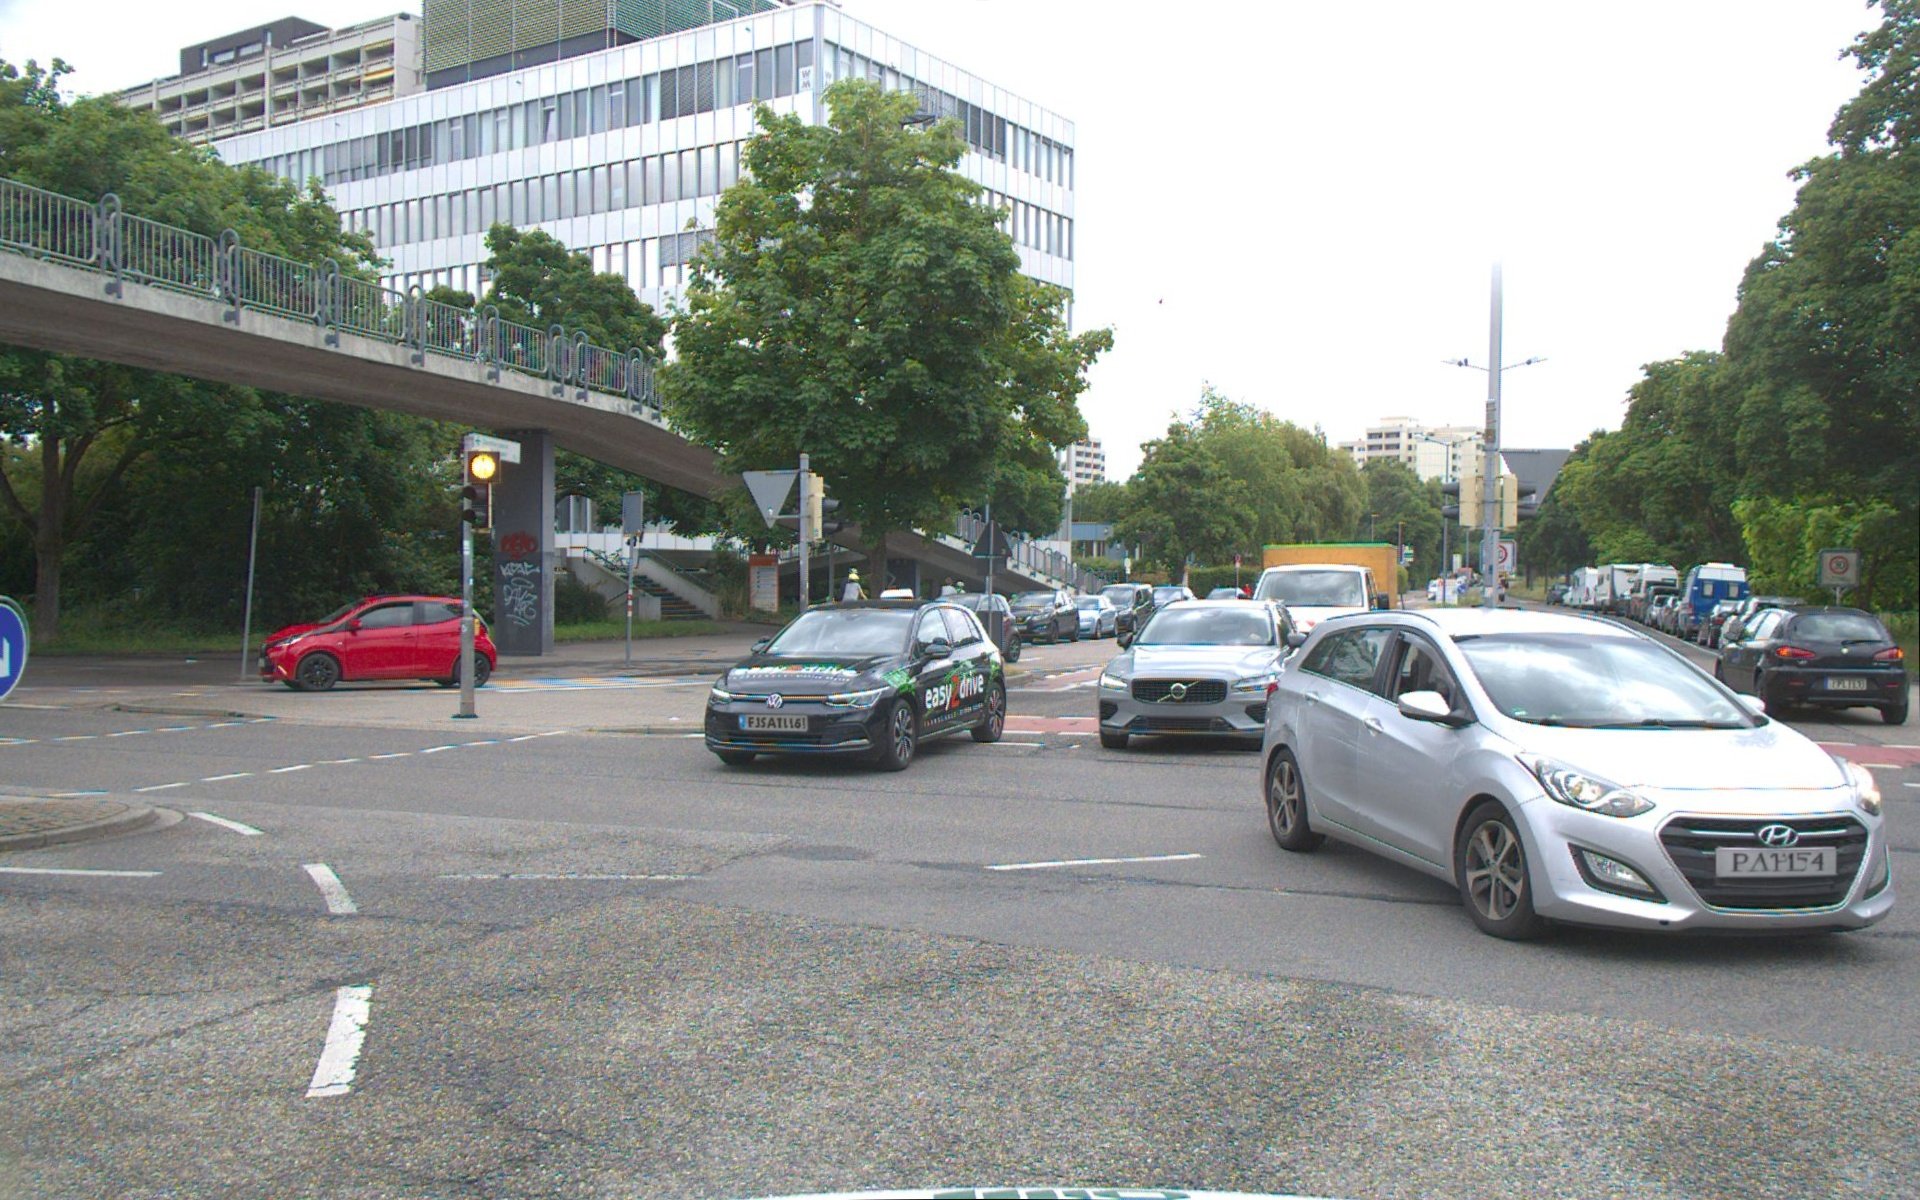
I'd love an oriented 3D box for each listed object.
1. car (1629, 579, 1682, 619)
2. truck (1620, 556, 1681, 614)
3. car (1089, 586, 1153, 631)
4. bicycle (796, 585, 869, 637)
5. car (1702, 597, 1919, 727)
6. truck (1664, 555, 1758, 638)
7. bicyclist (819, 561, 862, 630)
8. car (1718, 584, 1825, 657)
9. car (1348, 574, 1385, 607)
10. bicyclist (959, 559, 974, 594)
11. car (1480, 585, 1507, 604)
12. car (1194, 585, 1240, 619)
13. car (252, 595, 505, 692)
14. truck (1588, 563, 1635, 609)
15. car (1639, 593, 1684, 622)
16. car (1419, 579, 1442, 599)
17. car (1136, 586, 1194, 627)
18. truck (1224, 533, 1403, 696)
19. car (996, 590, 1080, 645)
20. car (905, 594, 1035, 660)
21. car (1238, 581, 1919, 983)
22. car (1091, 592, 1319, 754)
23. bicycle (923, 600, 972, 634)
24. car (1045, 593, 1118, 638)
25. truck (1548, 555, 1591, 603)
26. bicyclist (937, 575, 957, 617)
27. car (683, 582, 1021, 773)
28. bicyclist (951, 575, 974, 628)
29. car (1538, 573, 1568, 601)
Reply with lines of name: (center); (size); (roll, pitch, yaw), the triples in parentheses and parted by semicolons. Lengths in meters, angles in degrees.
car: (31.986, -0.070, 76.163); (1.683, 1.790, 4.003); (1, 1, 15)
truck: (35.461, -0.784, 85.096); (1.951, 2.887, 5.736); (1, 1, 13)
car: (5.986, 0.299, 61.170); (1.636, 1.579, 3.764); (1, 1, 17)
bicycle: (-3.544, 0.293, 46.486); (0.838, 1.338, 3.231); (1, 2, 19)
car: (11.380, 0.741, 22.254); (1.759, 1.482, 4.545); (1, 1, 14)
truck: (25.933, -0.115, 57.309); (2.128, 2.703, 6.250); (0, 0, 17)
bicyclist: (-3.397, -0.131, 46.970); (0.838, 1.926, 1.128); (1, 1, 19)
car: (20.283, 0.463, 41.467); (1.746, 1.691, 4.003); (1, 1, 17)
car: (25.885, -0.642, 105.216); (1.952, 2.049, 4.002); (1, 1, 18)
bicyclist: (0.235, -0.839, 59.246); (0.421, 1.239, 0.568); (0, 0, 16)
car: (43.262, -0.454, 134.131); (1.977, 1.531, 4.003); (1, 1, 17)
car: (12.511, 0.054, 80.433); (1.636, 1.579, 4.002); (1, 1, 17)
car: (-9.072, 0.641, 25.875); (3.489, 1.414, 1.500); (0, 0, -33)
truck: (38.140, -0.813, 96.915); (1.951, 2.617, 5.382); (0, 0, 15)
car: (30.634, 0.316, 72.249); (1.296, 1.211, 3.656); (1, 1, 15)
car: (39.114, -0.951, 137.431); (1.610, 1.621, 4.002); (1, 1, 18)
car: (8.457, 0.241, 67.986); (1.636, 1.579, 4.002); (1, 1, 17)
truck: (5.648, 0.149, 25.781); (2.110, 2.237, 5.843); (1, 1, 18)
car: (2.453, 0.506, 50.928); (1.636, 1.579, 3.894); (1, 1, 17)
car: (0.253, 0.564, 36.558); (1.531, 1.369, 2.963); (1, 1, 34)
car: (3.072, 0.690, 8.743); (1.757, 1.545, 4.314); (0, 1, -11)
car: (2.725, 0.672, 17.444); (1.856, 1.445, 4.739); (1, 0, 15)
bicycle: (-0.361, 0.493, 49.311); (0.747, 0.965, 1.953); (1, 1, 23)
car: (4.169, 0.514, 56.153); (1.636, 1.411, 3.897); (1, 1, 17)
truck: (39.655, -1.339, 107.753); (1.951, 3.061, 5.776); (0, 0, 14)
bicyclist: (-0.387, -0.132, 49.065); (0.397, 1.201, 0.377); (6, 3, 19)
car: (-0.827, 0.597, 15.547); (1.733, 1.503, 4.392); (1, 1, 17)
bicyclist: (0.076, 0.044, 52.854); (0.554, 1.673, 0.531); (0, 0, 27)
car: (44.043, -0.993, 122.848); (1.616, 1.951, 3.922); (1, 2, 13)
